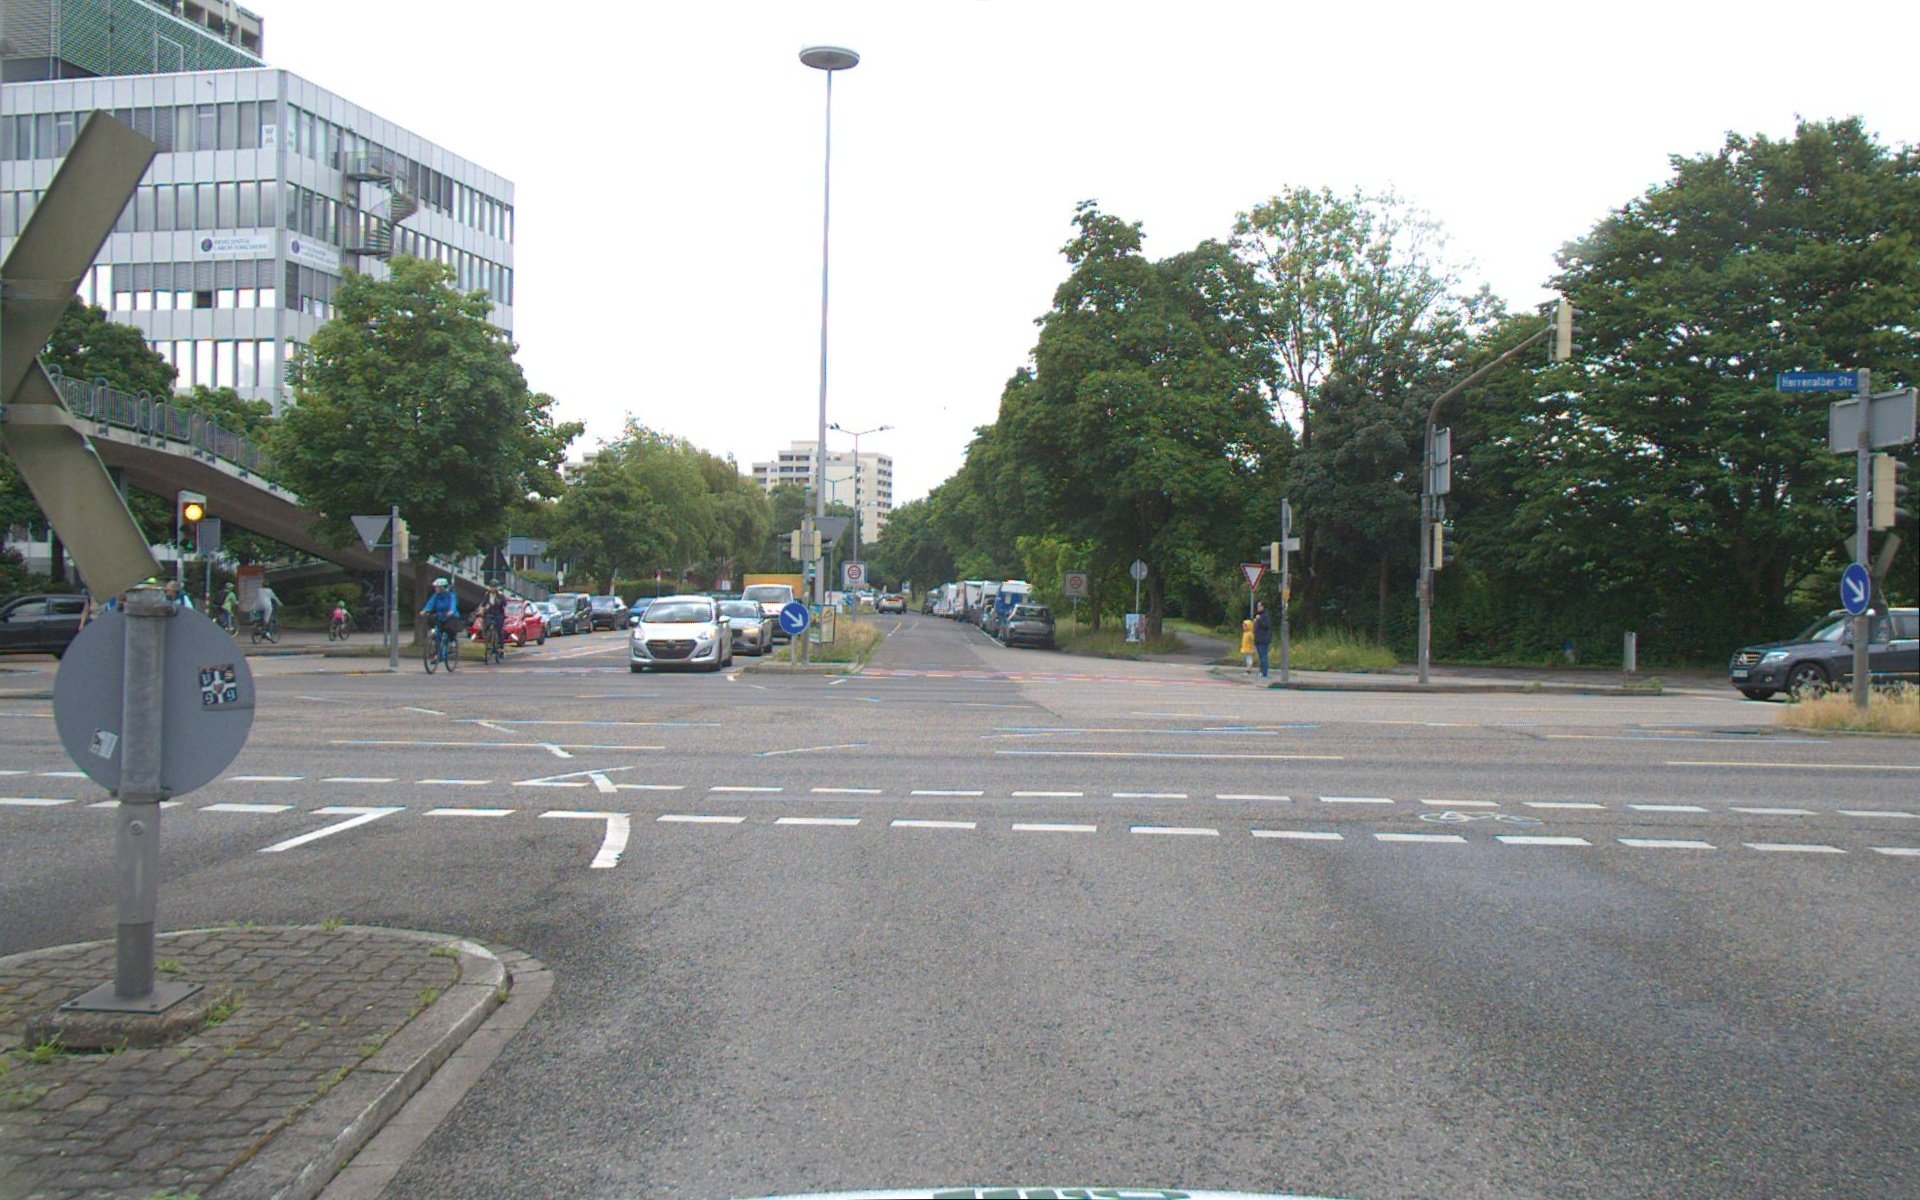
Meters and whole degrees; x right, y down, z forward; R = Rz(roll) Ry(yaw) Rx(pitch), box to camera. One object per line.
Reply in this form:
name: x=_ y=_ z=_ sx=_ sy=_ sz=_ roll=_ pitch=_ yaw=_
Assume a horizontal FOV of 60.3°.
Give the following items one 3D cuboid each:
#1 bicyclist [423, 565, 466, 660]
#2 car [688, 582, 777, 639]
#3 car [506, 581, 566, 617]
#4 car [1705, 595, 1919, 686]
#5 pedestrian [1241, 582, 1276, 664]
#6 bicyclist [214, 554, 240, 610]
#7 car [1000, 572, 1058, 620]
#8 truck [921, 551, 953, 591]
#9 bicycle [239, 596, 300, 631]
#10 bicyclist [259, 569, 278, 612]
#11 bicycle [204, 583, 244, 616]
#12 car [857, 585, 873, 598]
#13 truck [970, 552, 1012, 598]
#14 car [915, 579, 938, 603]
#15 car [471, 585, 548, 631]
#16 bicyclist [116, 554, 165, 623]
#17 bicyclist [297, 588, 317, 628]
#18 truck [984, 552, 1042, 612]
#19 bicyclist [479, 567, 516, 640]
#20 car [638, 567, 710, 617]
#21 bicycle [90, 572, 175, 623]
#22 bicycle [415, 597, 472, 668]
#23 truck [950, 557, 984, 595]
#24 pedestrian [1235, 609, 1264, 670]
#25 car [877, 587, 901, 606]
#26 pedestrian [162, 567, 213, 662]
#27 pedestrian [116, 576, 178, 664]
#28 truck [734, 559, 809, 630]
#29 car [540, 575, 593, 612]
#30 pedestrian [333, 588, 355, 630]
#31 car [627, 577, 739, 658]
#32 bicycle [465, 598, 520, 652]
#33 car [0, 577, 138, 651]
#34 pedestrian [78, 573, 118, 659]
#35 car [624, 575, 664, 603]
bicyclist: x=-9.879 y=0.237 z=31.710 sx=0.631 sy=1.799 sz=0.646 roll=0 pitch=1 yaw=-3
car: x=-6.138 y=0.237 z=45.121 sx=1.858 sy=1.445 sz=4.735 roll=1 pitch=1 yaw=-2
car: x=-17.640 y=-0.063 z=68.911 sx=1.638 sy=1.411 sz=3.894 roll=1 pitch=1 yaw=-3
car: x=15.910 y=0.705 z=29.558 sx=4.375 sy=1.530 sz=1.845 roll=1 pitch=1 yaw=-3
pedestrian: x=6.598 y=0.503 z=36.555 sx=0.644 sy=1.780 sz=0.459 roll=0 pitch=1 yaw=-4
bicyclist: x=-22.126 y=-0.534 z=49.903 sx=0.553 sy=1.673 sz=0.531 roll=0 pitch=0 yaw=-3
car: x=2.512 y=-0.159 z=60.941 sx=1.748 sy=1.691 sz=3.998 roll=0 pitch=1 yaw=-4
truck: x=-1.808 y=-2.272 z=129.764 sx=1.955 sy=3.061 sz=5.764 roll=0 pitch=0 yaw=-6
bicycle: x=-19.845 y=0.382 z=47.559 sx=0.746 sy=0.965 sz=1.955 roll=1 pitch=1 yaw=7
bicyclist: x=-19.769 y=-0.278 z=47.269 sx=0.396 sy=1.202 sz=0.377 roll=0 pitch=1 yaw=-1
bicycle: x=-22.010 y=-0.016 z=49.487 sx=0.516 sy=0.965 sz=1.708 roll=0 pitch=1 yaw=-2
car: x=-11.942 y=-1.107 z=208.521 sx=1.980 sy=1.531 sz=3.998 roll=0 pitch=1 yaw=-4
truck: x=1.952 y=-1.625 z=107.106 sx=1.956 sy=2.887 sz=5.723 roll=0 pitch=1 yaw=-7
car: x=-2.968 y=-0.804 z=145.663 sx=1.620 sy=1.951 sz=3.913 roll=0 pitch=2 yaw=-7
car: x=-14.431 y=0.241 z=53.128 sx=1.481 sy=1.414 sz=3.532 roll=0 pitch=0 yaw=0
bicyclist: x=-23.308 y=-0.348 z=47.077 sx=0.838 sy=1.925 sz=1.127 roll=0 pitch=1 yaw=-1
bicyclist: x=-20.612 y=0.248 z=52.215 sx=0.422 sy=1.239 sz=0.567 roll=0 pitch=0 yaw=-4
truck: x=2.439 y=-0.817 z=77.753 sx=2.131 sy=2.702 sz=6.242 roll=0 pitch=0 yaw=-3
bicyclist: x=-10.335 y=0.072 z=36.958 sx=0.665 sy=1.622 sz=0.694 roll=0 pitch=0 yaw=-4
car: x=-9.000 y=-0.280 z=52.285 sx=1.735 sy=1.503 sz=4.387 roll=0 pitch=1 yaw=-3
bicycle: x=-23.317 y=-0.083 z=46.694 sx=0.838 sy=1.338 sz=3.229 roll=0 pitch=2 yaw=-1
bicycle: x=-9.938 y=0.607 z=31.883 sx=0.532 sy=1.289 sz=2.109 roll=0 pitch=1 yaw=-3
truck: x=0.454 y=-1.705 z=119.101 sx=1.955 sy=2.617 sz=5.372 roll=0 pitch=0 yaw=-5
pedestrian: x=6.491 y=0.882 z=37.115 sx=0.516 sy=1.365 sz=0.524 roll=0 pitch=1 yaw=-4
car: x=-6.047 y=-0.344 z=141.220 sx=1.980 sy=1.531 sz=3.998 roll=0 pitch=1 yaw=-4
pedestrian: x=-13.490 y=0.251 z=28.886 sx=0.674 sy=1.633 sz=0.487 roll=0 pitch=1 yaw=-8
pedestrian: x=-14.255 y=0.348 z=28.998 sx=0.902 sy=1.537 sz=0.402 roll=0 pitch=1 yaw=-15
truck: x=-6.234 y=-0.225 z=55.298 sx=2.112 sy=2.237 sz=5.837 roll=0 pitch=1 yaw=-3
car: x=-17.637 y=-0.303 z=74.245 sx=1.638 sy=1.579 sz=3.760 roll=0 pitch=1 yaw=-3
pedestrian: x=-19.385 y=0.282 z=52.060 sx=0.489 sy=1.293 sz=0.458 roll=1 pitch=0 yaw=-1
car: x=-5.551 y=0.348 z=33.589 sx=1.753 sy=1.545 sz=4.322 roll=0 pitch=-1 yaw=-3
bicycle: x=-10.345 y=0.533 z=36.675 sx=0.712 sy=1.120 sz=2.263 roll=0 pitch=1 yaw=-3
car: x=-20.303 y=0.278 z=35.658 sx=1.641 sy=1.534 sz=4.375 roll=1 pitch=1 yaw=40
pedestrian: x=-16.290 y=0.294 z=31.263 sx=0.570 sy=1.607 sz=0.776 roll=0 pitch=1 yaw=-22
car: x=-18.049 y=-0.644 z=94.566 sx=1.638 sy=1.579 sz=3.998 roll=0 pitch=1 yaw=-3
